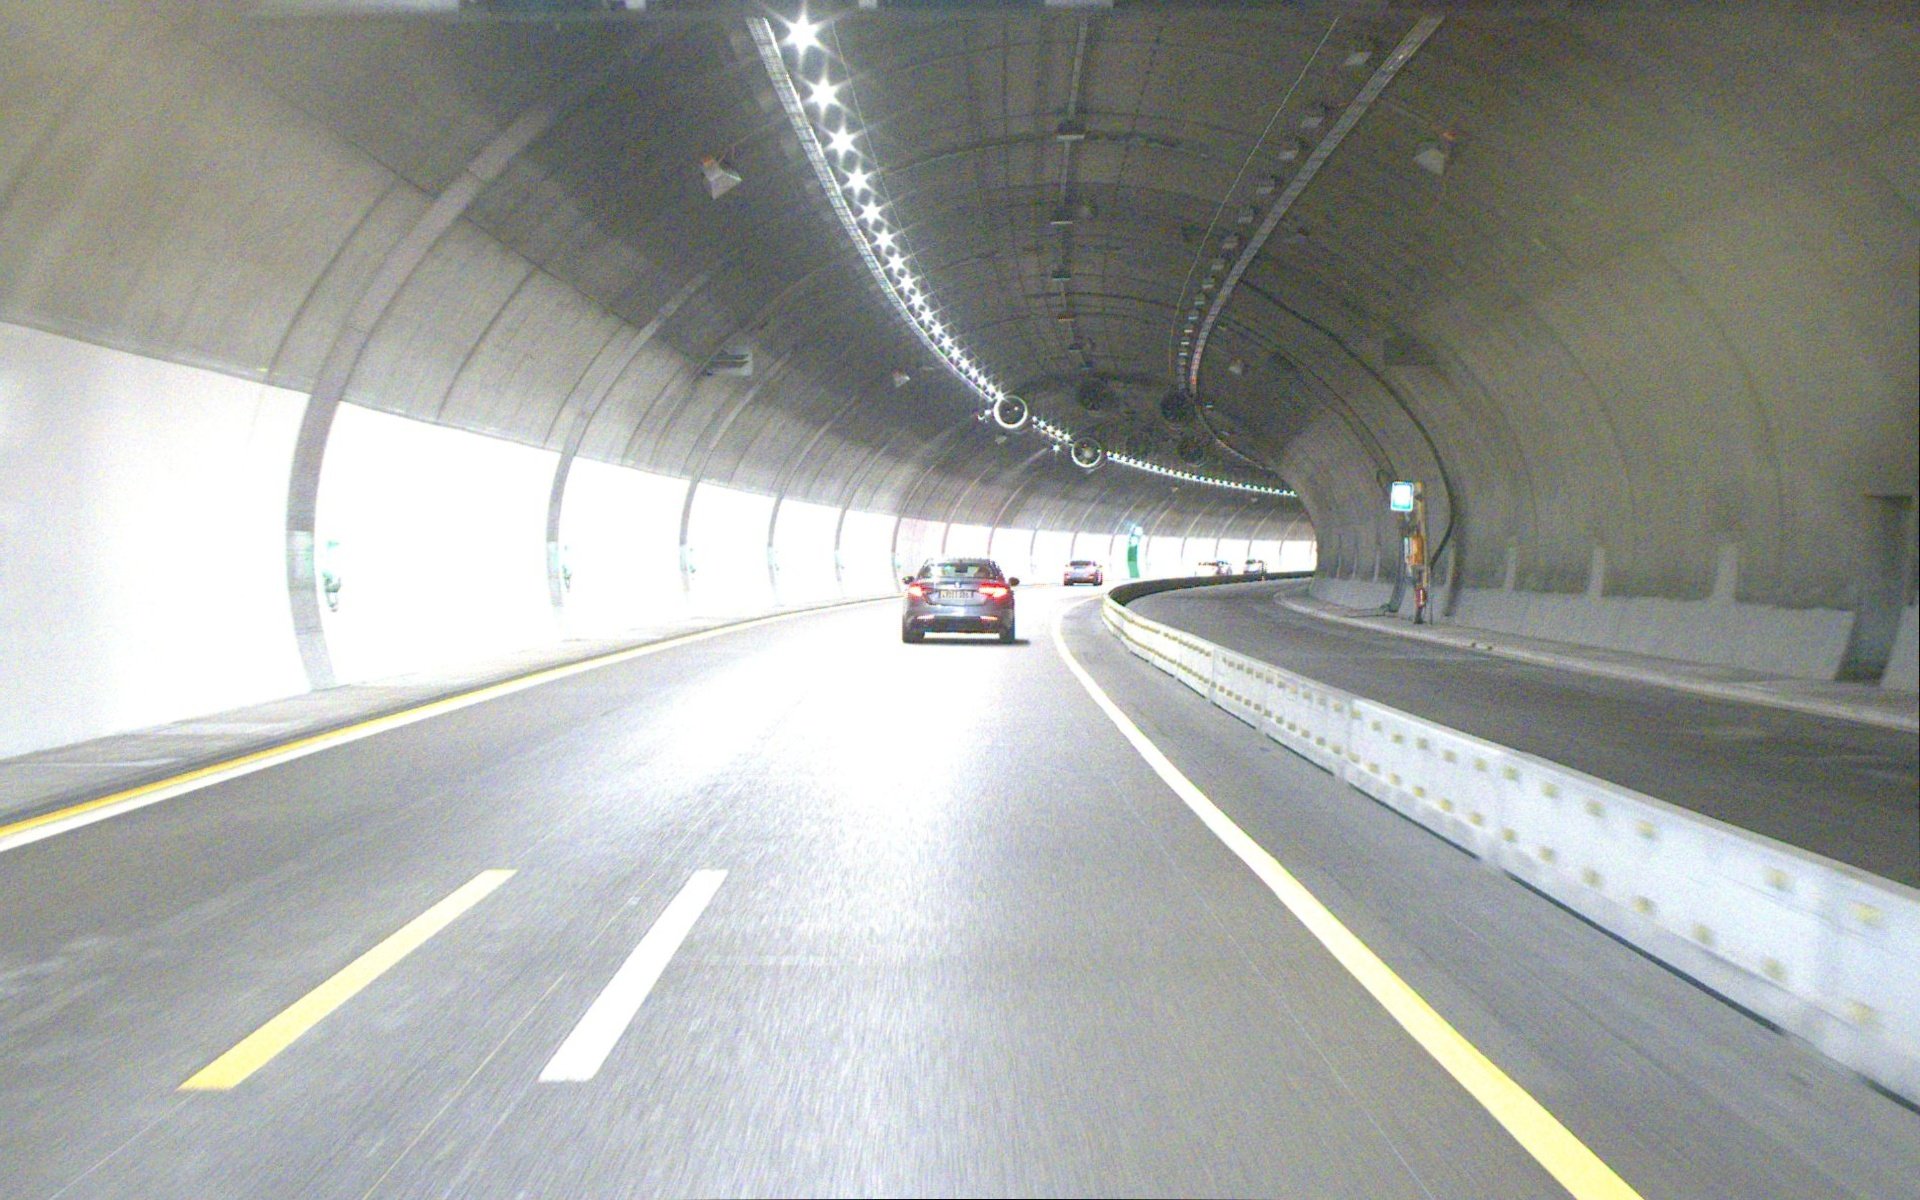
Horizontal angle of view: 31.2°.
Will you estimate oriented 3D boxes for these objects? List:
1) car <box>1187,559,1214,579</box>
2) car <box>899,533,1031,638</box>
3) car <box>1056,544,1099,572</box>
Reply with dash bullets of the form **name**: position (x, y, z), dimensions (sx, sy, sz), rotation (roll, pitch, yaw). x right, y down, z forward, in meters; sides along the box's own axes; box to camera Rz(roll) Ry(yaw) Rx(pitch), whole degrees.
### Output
- **car**: position (16.572, -2.125, 236.406), dimensions (1.595, 1.328, 3.749), rotation (1, 1, 8)
- **car**: position (0.086, -0.267, 58.054), dimensions (2.141, 1.700, 4.000), rotation (0, 1, 0)
- **car**: position (6.442, -2.286, 187.677), dimensions (2.165, 1.481, 4.000), rotation (0, 1, 4)
